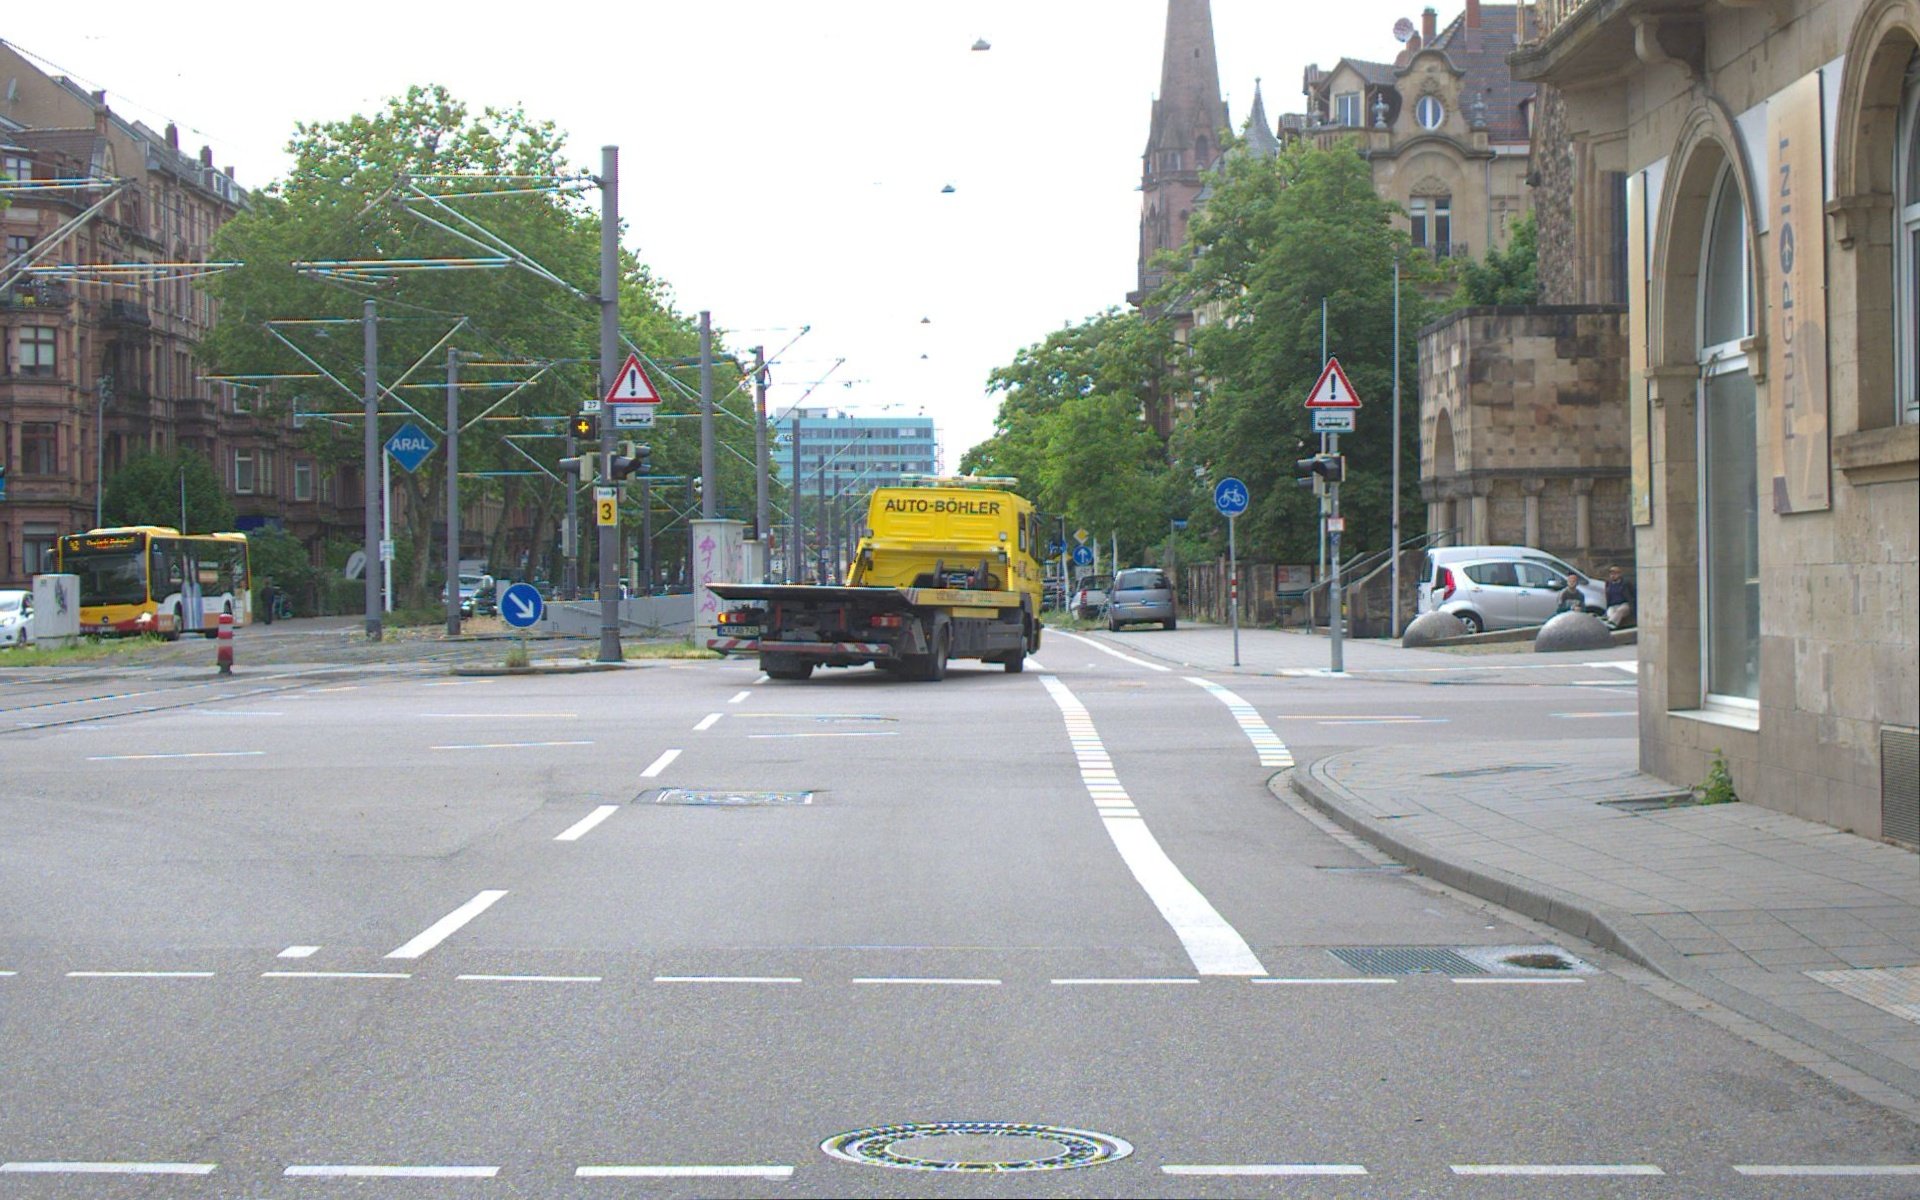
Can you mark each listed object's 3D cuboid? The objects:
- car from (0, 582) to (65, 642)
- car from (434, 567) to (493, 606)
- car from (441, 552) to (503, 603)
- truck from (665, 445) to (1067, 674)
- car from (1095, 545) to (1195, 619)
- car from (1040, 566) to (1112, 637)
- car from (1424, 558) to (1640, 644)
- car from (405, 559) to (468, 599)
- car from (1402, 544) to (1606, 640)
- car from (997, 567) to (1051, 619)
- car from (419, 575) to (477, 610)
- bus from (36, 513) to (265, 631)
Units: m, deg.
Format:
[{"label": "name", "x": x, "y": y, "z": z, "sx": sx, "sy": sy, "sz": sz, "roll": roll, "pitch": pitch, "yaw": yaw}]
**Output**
[{"label": "car", "x": -21.908, "y": 0.259, "z": 79.047, "sx": 1.656, "sy": 1.316, "sz": 3.638, "roll": 1, "pitch": 1, "yaw": 1}, {"label": "car", "x": -21.523, "y": -0.596, "z": 149.173, "sx": 1.993, "sy": 1.605, "sz": 4.000, "roll": 1, "pitch": 1, "yaw": -1}, {"label": "car", "x": -20.077, "y": -0.950, "z": 141.578, "sx": 1.993, "sy": 2.007, "sz": 4.000, "roll": 1, "pitch": 1, "yaw": -1}, {"label": "truck", "x": -1.007, "y": -0.544, "z": 46.469, "sx": 3.057, "sy": 2.760, "sz": 9.810, "roll": 0, "pitch": 1, "yaw": 13}, {"label": "car", "x": 4.869, "y": -0.478, "z": 89.987, "sx": 1.994, "sy": 1.849, "sz": 4.024, "roll": 1, "pitch": 1, "yaw": 12}, {"label": "car", "x": 3.344, "y": 0.026, "z": 99.610, "sx": 1.993, "sy": 2.007, "sz": 4.000, "roll": 1, "pitch": 1, "yaw": 1}, {"label": "car", "x": 10.767, "y": 0.012, "z": 64.885, "sx": 3.713, "sy": 1.558, "sz": 2.000, "roll": 1, "pitch": 0, "yaw": 0}, {"label": "car", "x": -21.539, "y": -0.882, "z": 141.522, "sx": 1.993, "sy": 1.605, "sz": 4.000, "roll": 1, "pitch": 1, "yaw": -1}, {"label": "car", "x": 10.795, "y": -0.166, "z": 68.407, "sx": 3.713, "sy": 1.849, "sz": 2.000, "roll": 1, "pitch": 0, "yaw": 0}, {"label": "car", "x": 2.535, "y": -0.285, "z": 136.194, "sx": 1.993, "sy": 2.007, "sz": 4.000, "roll": 1, "pitch": 1, "yaw": -1}, {"label": "car", "x": -20.120, "y": -0.291, "z": 135.215, "sx": 1.656, "sy": 1.316, "sz": 3.638, "roll": 1, "pitch": 1, "yaw": 1}, {"label": "bus", "x": -22.343, "y": -0.796, "z": 95.775, "sx": 3.231, "sy": 3.025, "sz": 12.311, "roll": 1, "pitch": 1, "yaw": 1}]
